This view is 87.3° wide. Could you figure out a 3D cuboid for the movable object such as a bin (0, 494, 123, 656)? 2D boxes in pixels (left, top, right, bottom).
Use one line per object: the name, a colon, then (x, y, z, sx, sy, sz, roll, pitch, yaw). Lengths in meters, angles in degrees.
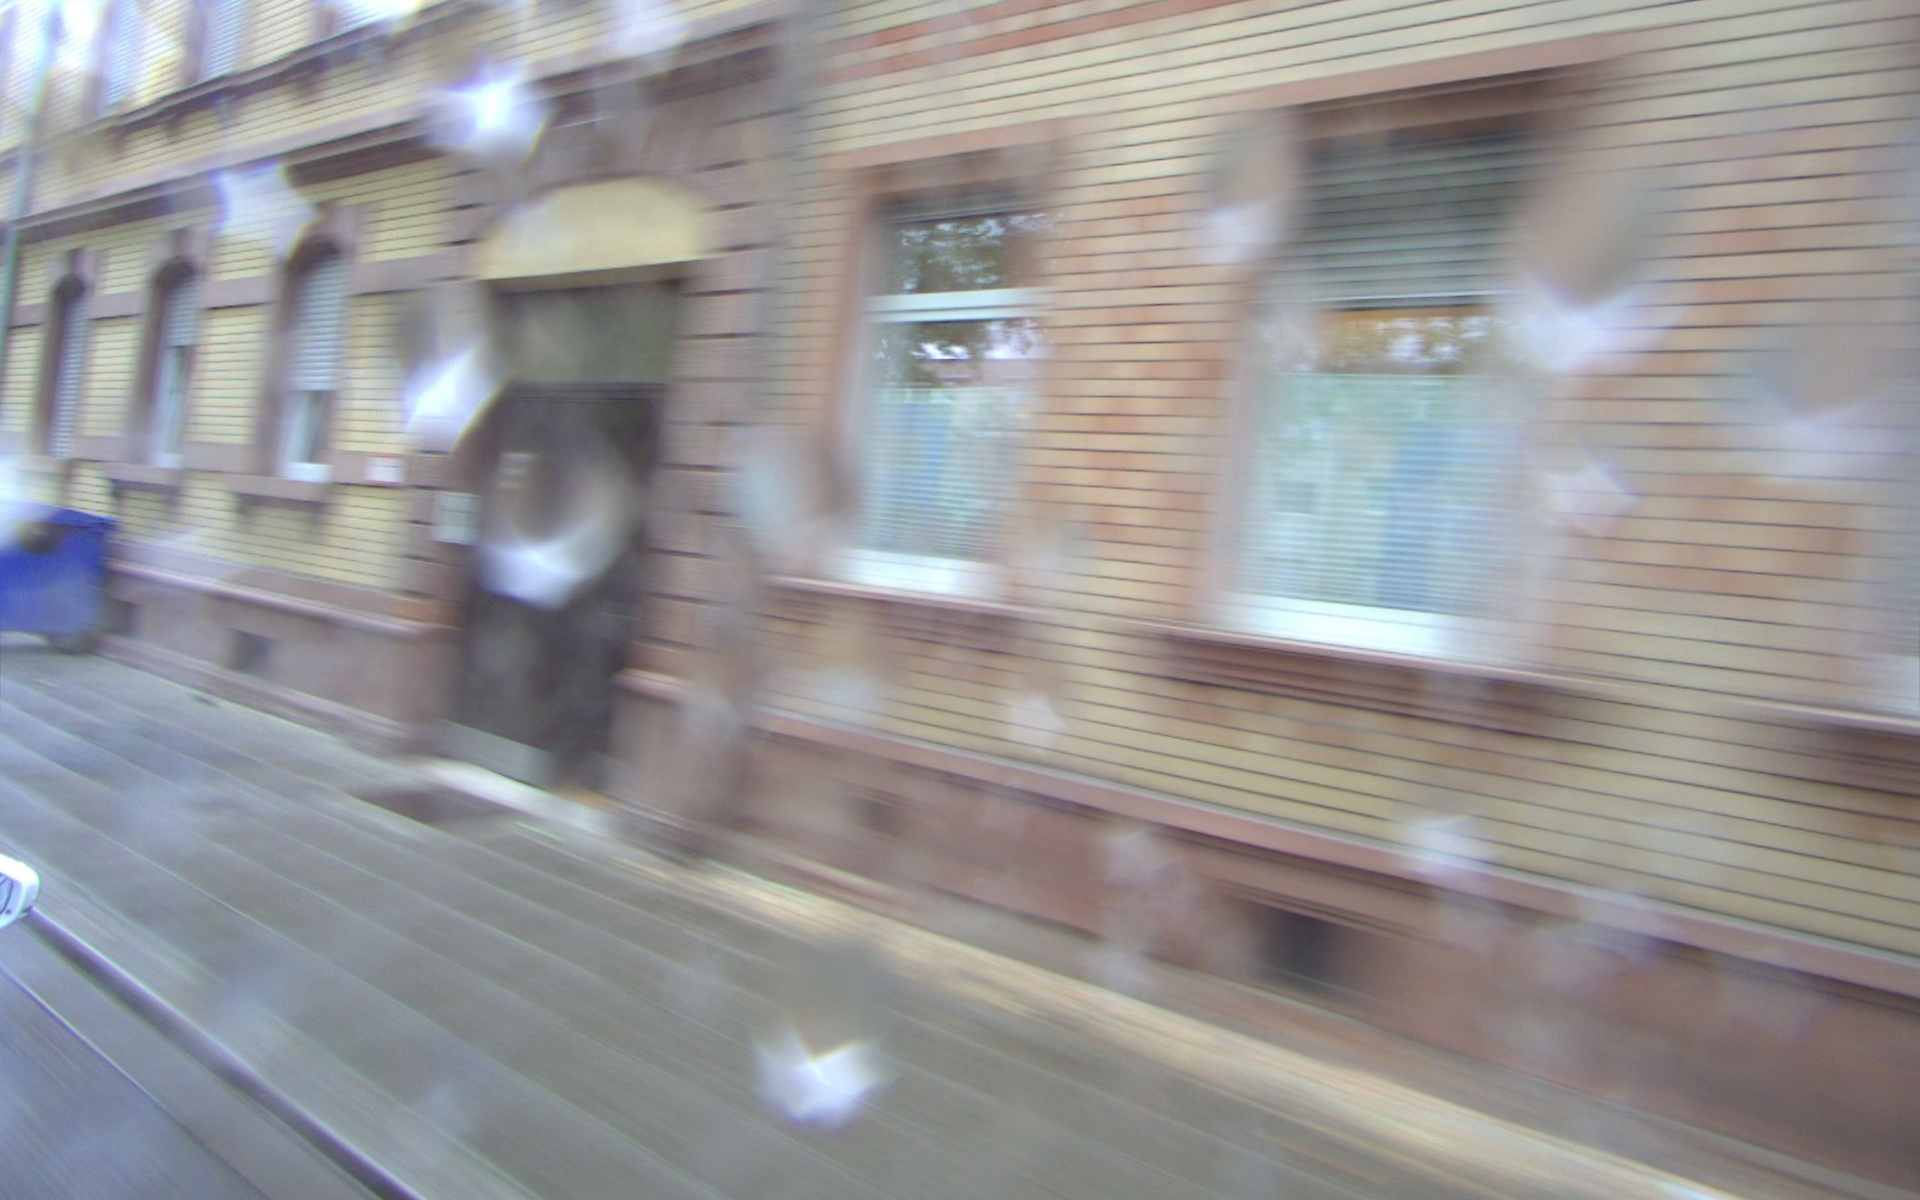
movable object such as a bin: (-8.454, -0.252, 9.018, 1.344, 1.319, 1.021, 8, 3, 31)
